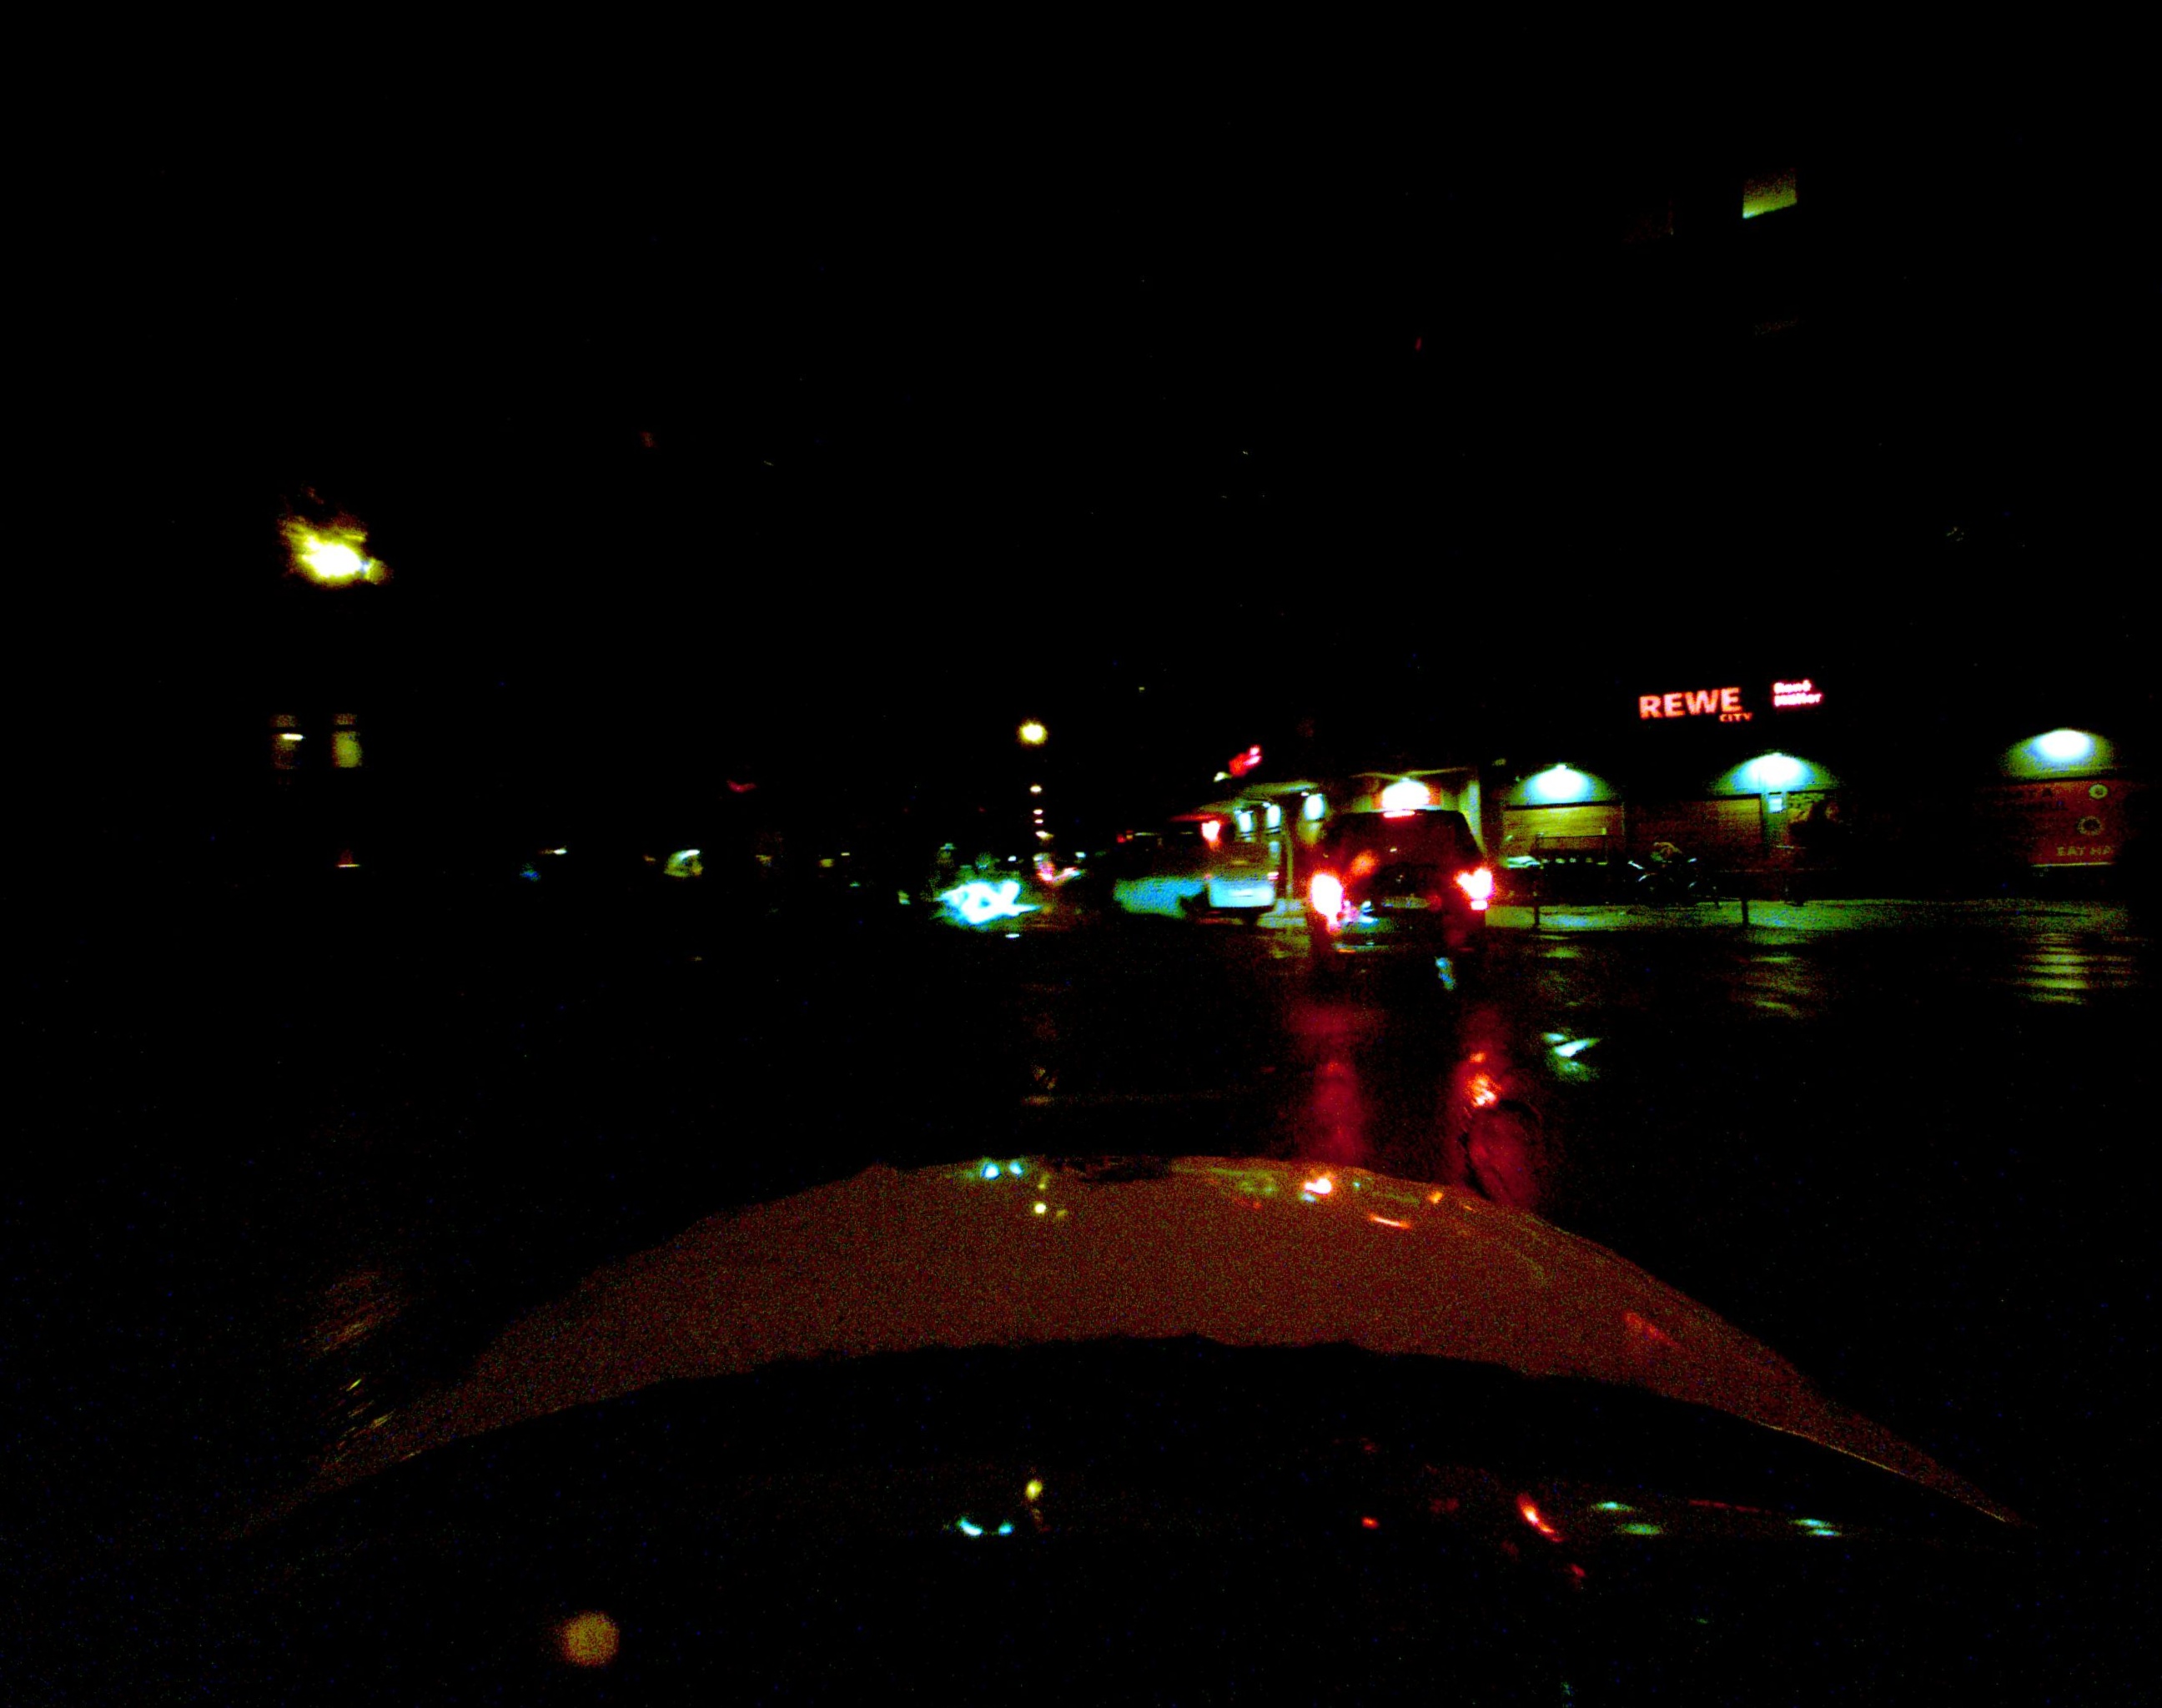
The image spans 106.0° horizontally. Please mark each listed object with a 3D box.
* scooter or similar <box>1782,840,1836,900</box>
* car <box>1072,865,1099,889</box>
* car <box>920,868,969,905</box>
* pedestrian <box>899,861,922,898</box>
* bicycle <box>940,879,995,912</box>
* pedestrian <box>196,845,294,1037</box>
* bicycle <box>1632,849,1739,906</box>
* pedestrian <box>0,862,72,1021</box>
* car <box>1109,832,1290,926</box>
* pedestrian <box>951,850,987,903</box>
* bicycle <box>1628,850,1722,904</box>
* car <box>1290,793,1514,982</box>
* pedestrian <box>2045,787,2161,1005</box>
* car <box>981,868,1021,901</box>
[{"bbox_3d":[15.339,0.317,17.188,0.520,1.229,1.321,-1,0,27],"label":"scooter or similar"},{"bbox_3d":[0.290,1.523,53.604,1.588,1.543,3.416,-1,-2,-3],"label":"car"},{"bbox_3d":[-5.948,1.373,35.769,1.582,1.463,4.020,1,-1,-3],"label":"car"},{"bbox_3d":[-8.109,1.214,38.811,0.800,1.766,1.016,0,-2,3],"label":"pedestrian"},{"bbox_3d":[-4.011,1.457,28.831,1.789,1.059,0.715,-2,-1,0],"label":"bicycle"},{"bbox_3d":[-8.849,0.878,8.622,0.620,1.909,0.659,-2,-1,41],"label":"pedestrian"},{"bbox_3d":[12.870,0.507,17.378,1.764,1.174,0.386,-2,-1,25],"label":"bicycle"},{"bbox_3d":[-13.031,1.048,9.702,0.792,1.858,0.949,-4,-1,10],"label":"pedestrian"},{"bbox_3d":[2.599,0.535,19.244,2.131,1.922,4.791,-1,-1,-21],"label":"car"},{"bbox_3d":[-3.956,0.775,28.833,1.118,1.811,0.715,-2,-1,0],"label":"pedestrian"},{"bbox_3d":[13.289,0.522,18.254,1.627,1.174,0.386,-1,-3,25],"label":"bicycle"},{"bbox_3d":[4.011,0.398,11.052,2.108,1.991,4.617,-2,-1,13],"label":"car"},{"bbox_3d":[9.485,0.349,7.236,0.867,1.833,0.990,-3,-2,33],"label":"pedestrian"},{"bbox_3d":[-3.803,1.422,39.073,1.559,1.427,4.066,-3,-1,-2],"label":"car"}]
